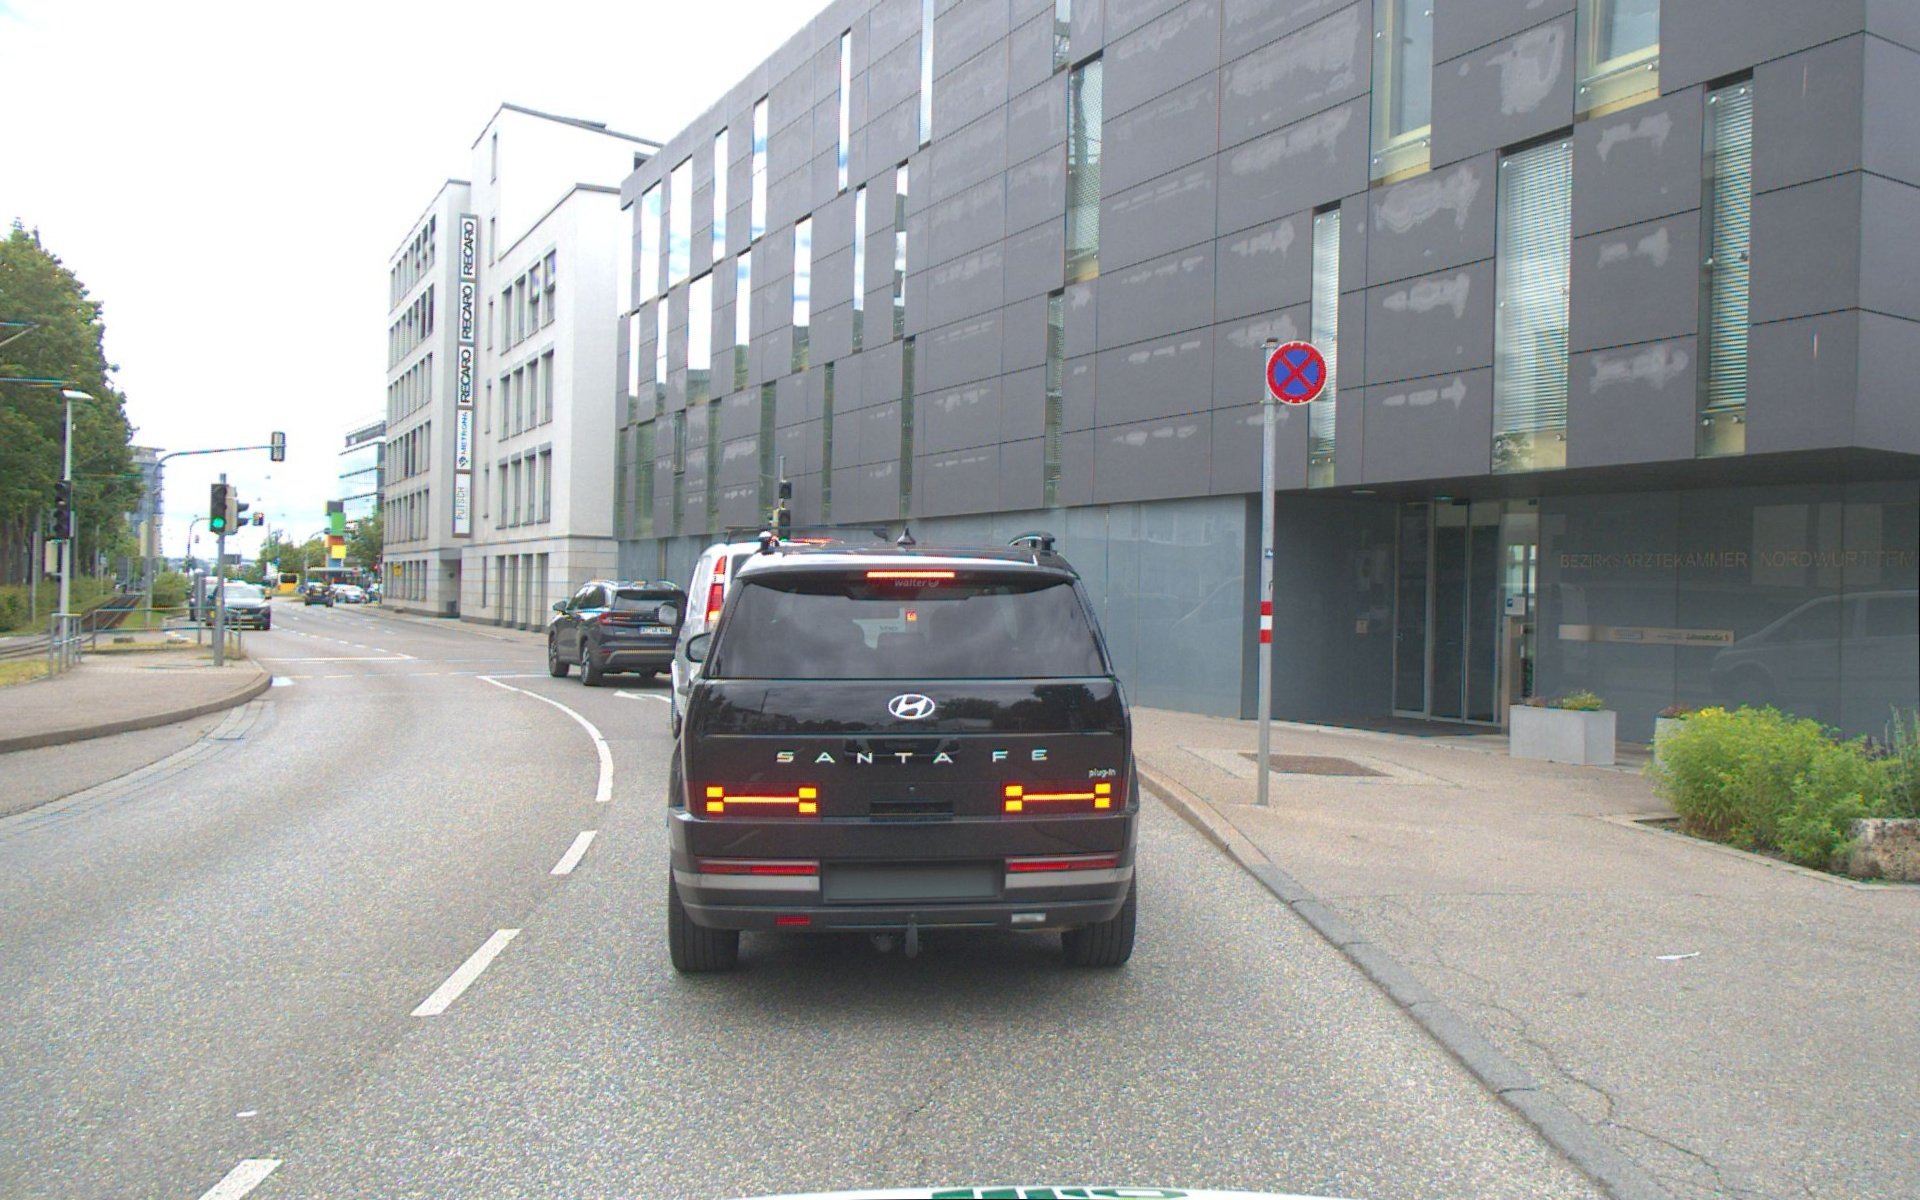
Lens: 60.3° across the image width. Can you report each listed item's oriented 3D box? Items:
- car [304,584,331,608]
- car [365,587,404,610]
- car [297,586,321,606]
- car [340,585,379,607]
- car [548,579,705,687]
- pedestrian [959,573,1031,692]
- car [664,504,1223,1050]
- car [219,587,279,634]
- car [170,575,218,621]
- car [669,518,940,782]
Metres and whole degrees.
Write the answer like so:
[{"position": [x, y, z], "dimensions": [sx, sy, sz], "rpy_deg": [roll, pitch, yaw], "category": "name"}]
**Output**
[{"position": [-46.217, -0.280, 118.911], "dimensions": [1.735, 1.637, 4.159], "rpy_deg": [1, 0, -23], "category": "car"}, {"position": [-48.885, -0.127, 140.436], "dimensions": [1.979, 1.885, 3.946], "rpy_deg": [1, 0, -38], "category": "car"}, {"position": [-53.318, -0.342, 135.362], "dimensions": [1.735, 1.637, 4.159], "rpy_deg": [1, 0, -23], "category": "car"}, {"position": [-50.592, -0.361, 139.284], "dimensions": [1.979, 1.733, 3.946], "rpy_deg": [1, 0, -38], "category": "car"}, {"position": [-5.553, 0.494, 27.171], "dimensions": [1.735, 1.637, 4.159], "rpy_deg": [1, 0, -23], "category": "car"}, {"position": [0.513, 0.484, 24.543], "dimensions": [0.703, 1.724, 0.858], "rpy_deg": [2, -1, -28], "category": "pedestrian"}, {"position": [-0.292, 0.570, 7.694], "dimensions": [1.872, 1.780, 4.390], "rpy_deg": [0, 0, -7], "category": "car"}, {"position": [-24.252, 0.346, 56.364], "dimensions": [1.746, 1.504, 3.968], "rpy_deg": [-1, 0, -25], "category": "car"}, {"position": [-32.364, -0.083, 69.832], "dimensions": [1.661, 1.840, 4.313], "rpy_deg": [-1, 0, -27], "category": "car"}, {"position": [-1.583, 0.387, 15.109], "dimensions": [1.898, 2.029, 4.520], "rpy_deg": [1, 0, -13], "category": "car"}]
